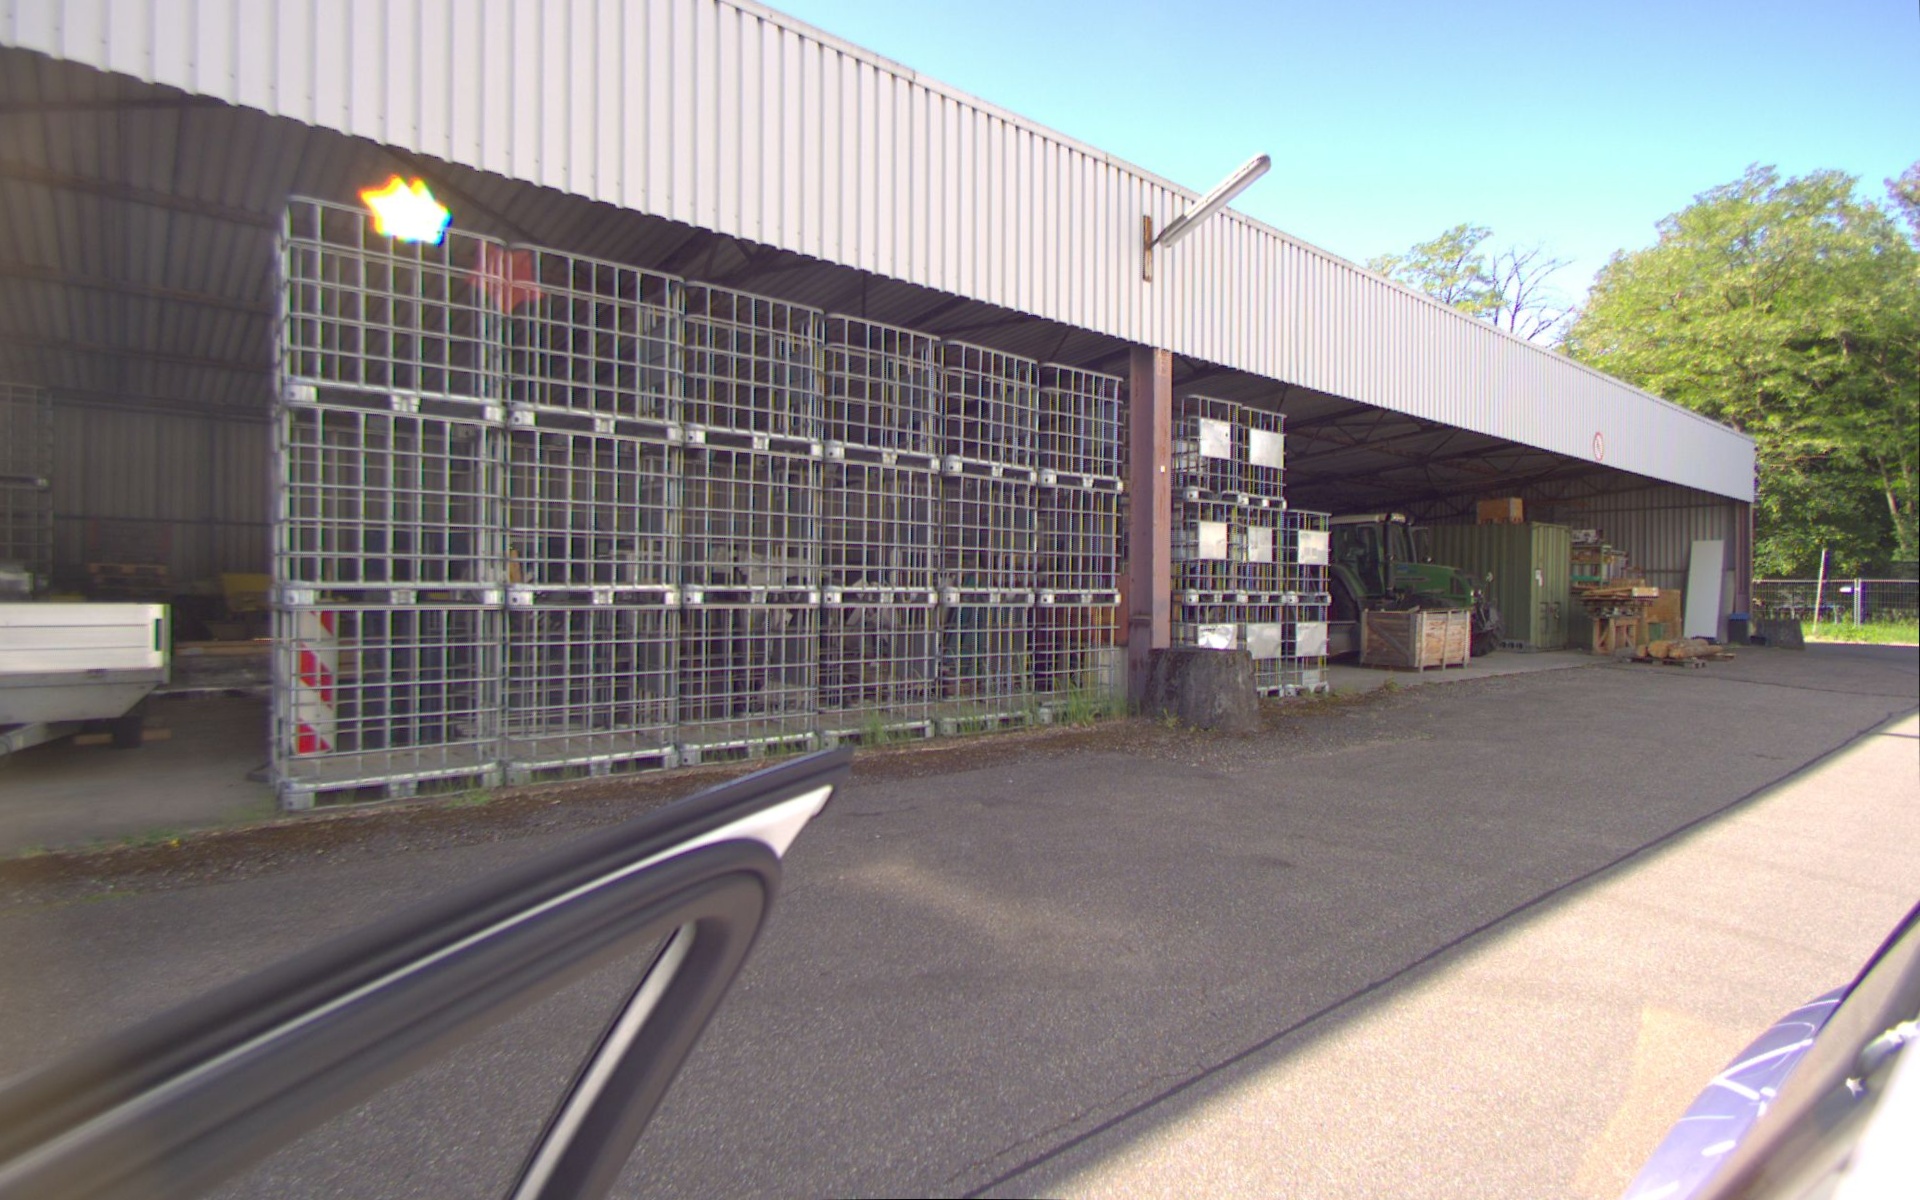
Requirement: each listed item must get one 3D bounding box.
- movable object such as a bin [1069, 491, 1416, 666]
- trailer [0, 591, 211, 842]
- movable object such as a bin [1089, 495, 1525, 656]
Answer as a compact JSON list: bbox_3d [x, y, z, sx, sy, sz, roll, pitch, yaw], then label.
[{"bbox_3d":[5.436,-0.396,20.379,2.962,2.947,6.199,0,0,-39],"label":"movable object such as a bin"},{"bbox_3d":[-6.746,0.546,6.936,2.104,1.147,5.857,0,1,-41],"label":"trailer"},{"bbox_3d":[7.373,-0.487,23.127,3.154,2.947,9.213,0,0,-39],"label":"movable object such as a bin"}]
